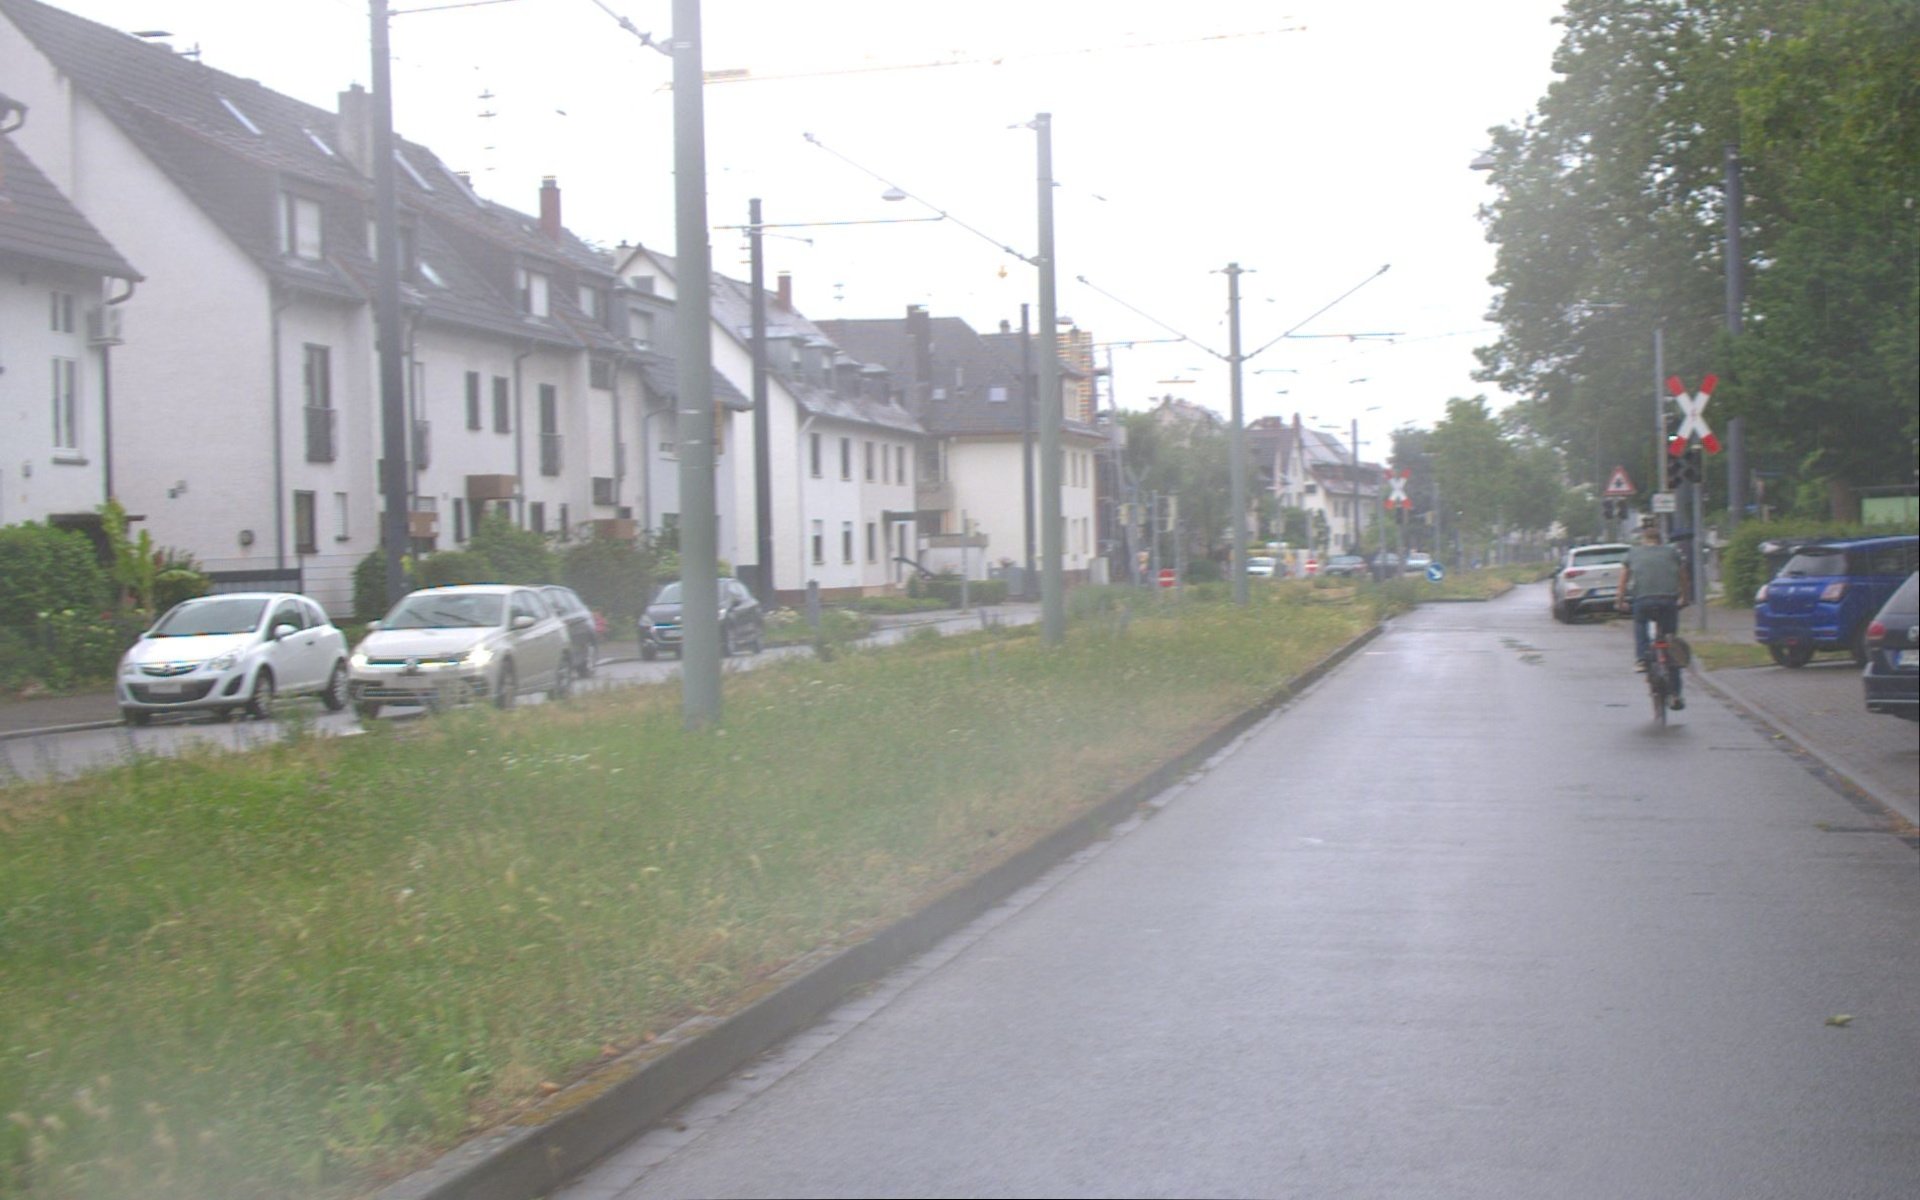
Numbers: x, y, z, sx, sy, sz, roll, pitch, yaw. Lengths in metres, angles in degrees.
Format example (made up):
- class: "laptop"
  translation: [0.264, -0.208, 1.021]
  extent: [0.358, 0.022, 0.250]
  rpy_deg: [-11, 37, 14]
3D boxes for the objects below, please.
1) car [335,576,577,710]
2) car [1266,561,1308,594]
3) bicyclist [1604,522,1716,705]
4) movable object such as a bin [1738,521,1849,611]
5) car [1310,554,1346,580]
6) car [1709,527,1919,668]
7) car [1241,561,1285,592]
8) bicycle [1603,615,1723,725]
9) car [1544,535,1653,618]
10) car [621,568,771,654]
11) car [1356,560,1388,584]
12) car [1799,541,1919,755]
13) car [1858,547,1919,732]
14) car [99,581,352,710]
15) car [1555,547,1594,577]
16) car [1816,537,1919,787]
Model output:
- class: "car"
  translation: [-5.655, 0.505, 39.009]
  extent: [1.601, 1.419, 3.818]
  rpy_deg: [-1, -1, 10]
- class: "car"
  translation: [18.385, -1.229, 193.066]
  extent: [1.994, 1.699, 3.998]
  rpy_deg: [-1, -1, 10]
- class: "bicyclist"
  translation: [6.150, 0.118, 30.230]
  extent: [0.831, 1.553, 0.914]
  rpy_deg: [-2, 0, 6]
- class: "movable object such as a bin"
  translation: [16.384, -0.671, 67.633]
  extent: [1.549, 1.698, 1.501]
  rpy_deg: [-2, 0, -14]
- class: "car"
  translation: [23.345, -2.086, 217.930]
  extent: [1.994, 1.539, 3.998]
  rpy_deg: [-1, -1, 10]
- class: "car"
  translation: [11.073, -0.078, 40.390]
  extent: [3.986, 1.478, 2.001]
  rpy_deg: [-2, 2, -22]
- class: "car"
  translation: [16.501, -1.293, 187.302]
  extent: [1.994, 1.539, 3.998]
  rpy_deg: [-1, -1, 10]
- class: "bicycle"
  translation: [6.189, 0.602, 30.350]
  extent: [0.821, 0.909, 1.985]
  rpy_deg: [-2, 0, 6]
- class: "car"
  translation: [13.116, -0.470, 70.819]
  extent: [1.955, 1.548, 3.999]
  rpy_deg: [-3, 0, 8]
- class: "car"
  translation: [-4.904, 0.226, 64.329]
  extent: [1.877, 1.498, 4.132]
  rpy_deg: [-1, -1, 9]
- class: "car"
  translation: [29.137, -1.977, 243.229]
  extent: [1.994, 1.539, 3.998]
  rpy_deg: [-1, -1, 10]
- class: "car"
  translation: [8.469, 0.241, 25.268]
  extent: [4.108, 1.475, 1.867]
  rpy_deg: [-3, 1, -23]
- class: "car"
  translation: [9.424, 0.227, 28.204]
  extent: [3.586, 1.475, 1.638]
  rpy_deg: [-3, 1, -17]
- class: "car"
  translation: [-8.642, 0.555, 40.761]
  extent: [1.601, 1.419, 3.942]
  rpy_deg: [-1, -1, 9]
- class: "car"
  translation: [33.479, -2.045, 187.434]
  extent: [1.994, 1.487, 3.998]
  rpy_deg: [-1, -1, 9]
- class: "car"
  translation: [7.717, 0.301, 22.225]
  extent: [3.987, 1.548, 1.961]
  rpy_deg: [-3, -1, -33]
